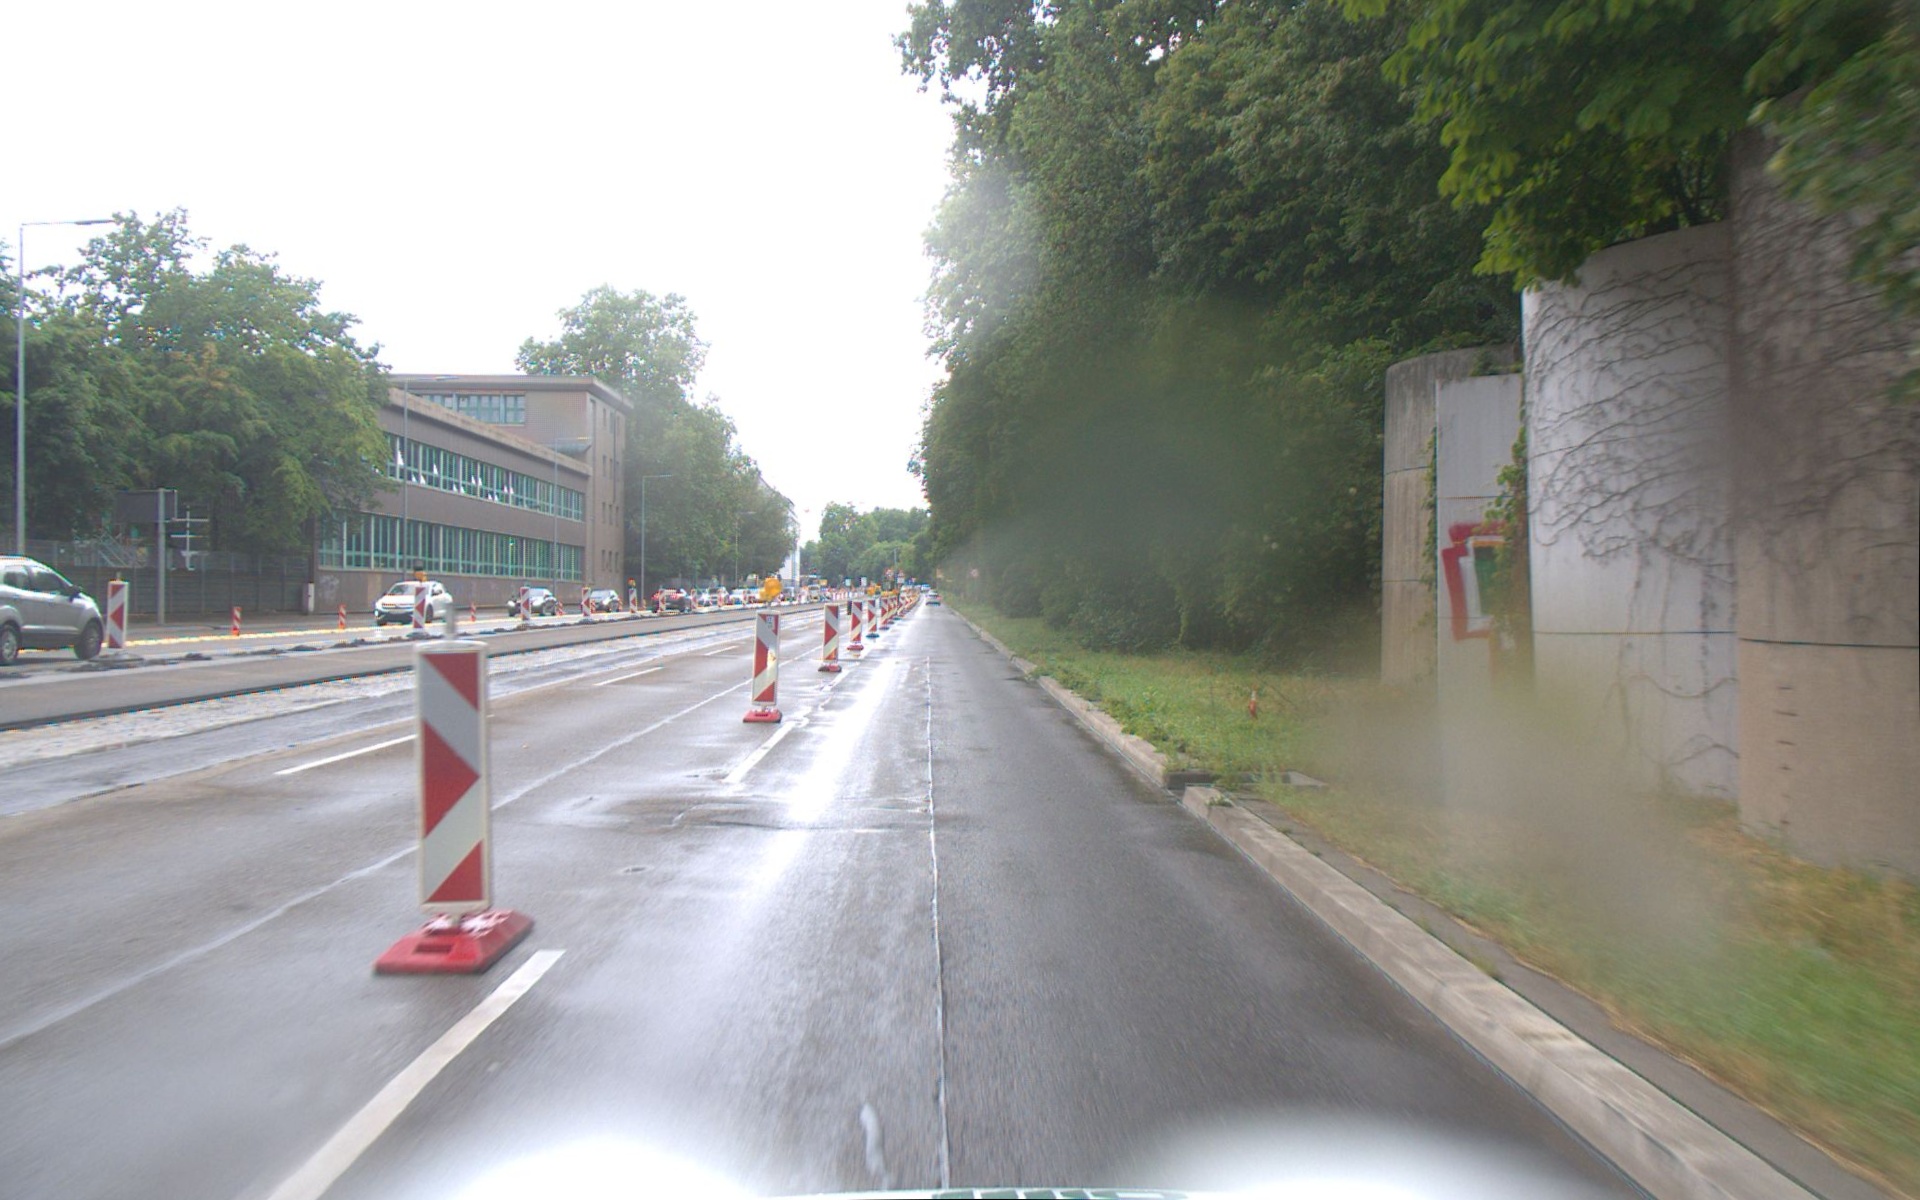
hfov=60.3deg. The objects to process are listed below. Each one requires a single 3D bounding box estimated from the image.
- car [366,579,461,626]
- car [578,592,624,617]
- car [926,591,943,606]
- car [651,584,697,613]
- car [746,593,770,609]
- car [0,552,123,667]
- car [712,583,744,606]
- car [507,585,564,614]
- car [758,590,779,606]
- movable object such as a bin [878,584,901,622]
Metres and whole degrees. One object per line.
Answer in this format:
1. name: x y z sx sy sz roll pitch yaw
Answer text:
1. car: -19.089 0.080 57.989 1.953 1.539 4.265 1 0 -1
2. car: -22.041 0.282 101.741 2.006 1.480 4.761 1 0 -4
3. car: -3.073 -0.195 199.838 1.953 1.702 3.999 1 0 -1
4. car: -16.131 -0.082 93.384 1.953 1.545 3.999 1 0 -1
5. car: -20.518 0.093 168.379 1.855 1.528 4.516 1 0 0
6. car: -14.868 0.121 25.595 1.817 1.677 3.999 1 0 -1
7. car: -19.421 -0.459 138.728 1.948 1.799 4.674 1 0 0
8. car: -21.845 -0.042 85.234 1.953 1.454 4.263 1 0 -2
9. car: -20.460 -0.199 176.821 1.767 1.561 3.991 1 0 -1
10. movable object such as a bin: -6.458 0.291 152.071 1.953 3.426 5.981 1 0 -1
